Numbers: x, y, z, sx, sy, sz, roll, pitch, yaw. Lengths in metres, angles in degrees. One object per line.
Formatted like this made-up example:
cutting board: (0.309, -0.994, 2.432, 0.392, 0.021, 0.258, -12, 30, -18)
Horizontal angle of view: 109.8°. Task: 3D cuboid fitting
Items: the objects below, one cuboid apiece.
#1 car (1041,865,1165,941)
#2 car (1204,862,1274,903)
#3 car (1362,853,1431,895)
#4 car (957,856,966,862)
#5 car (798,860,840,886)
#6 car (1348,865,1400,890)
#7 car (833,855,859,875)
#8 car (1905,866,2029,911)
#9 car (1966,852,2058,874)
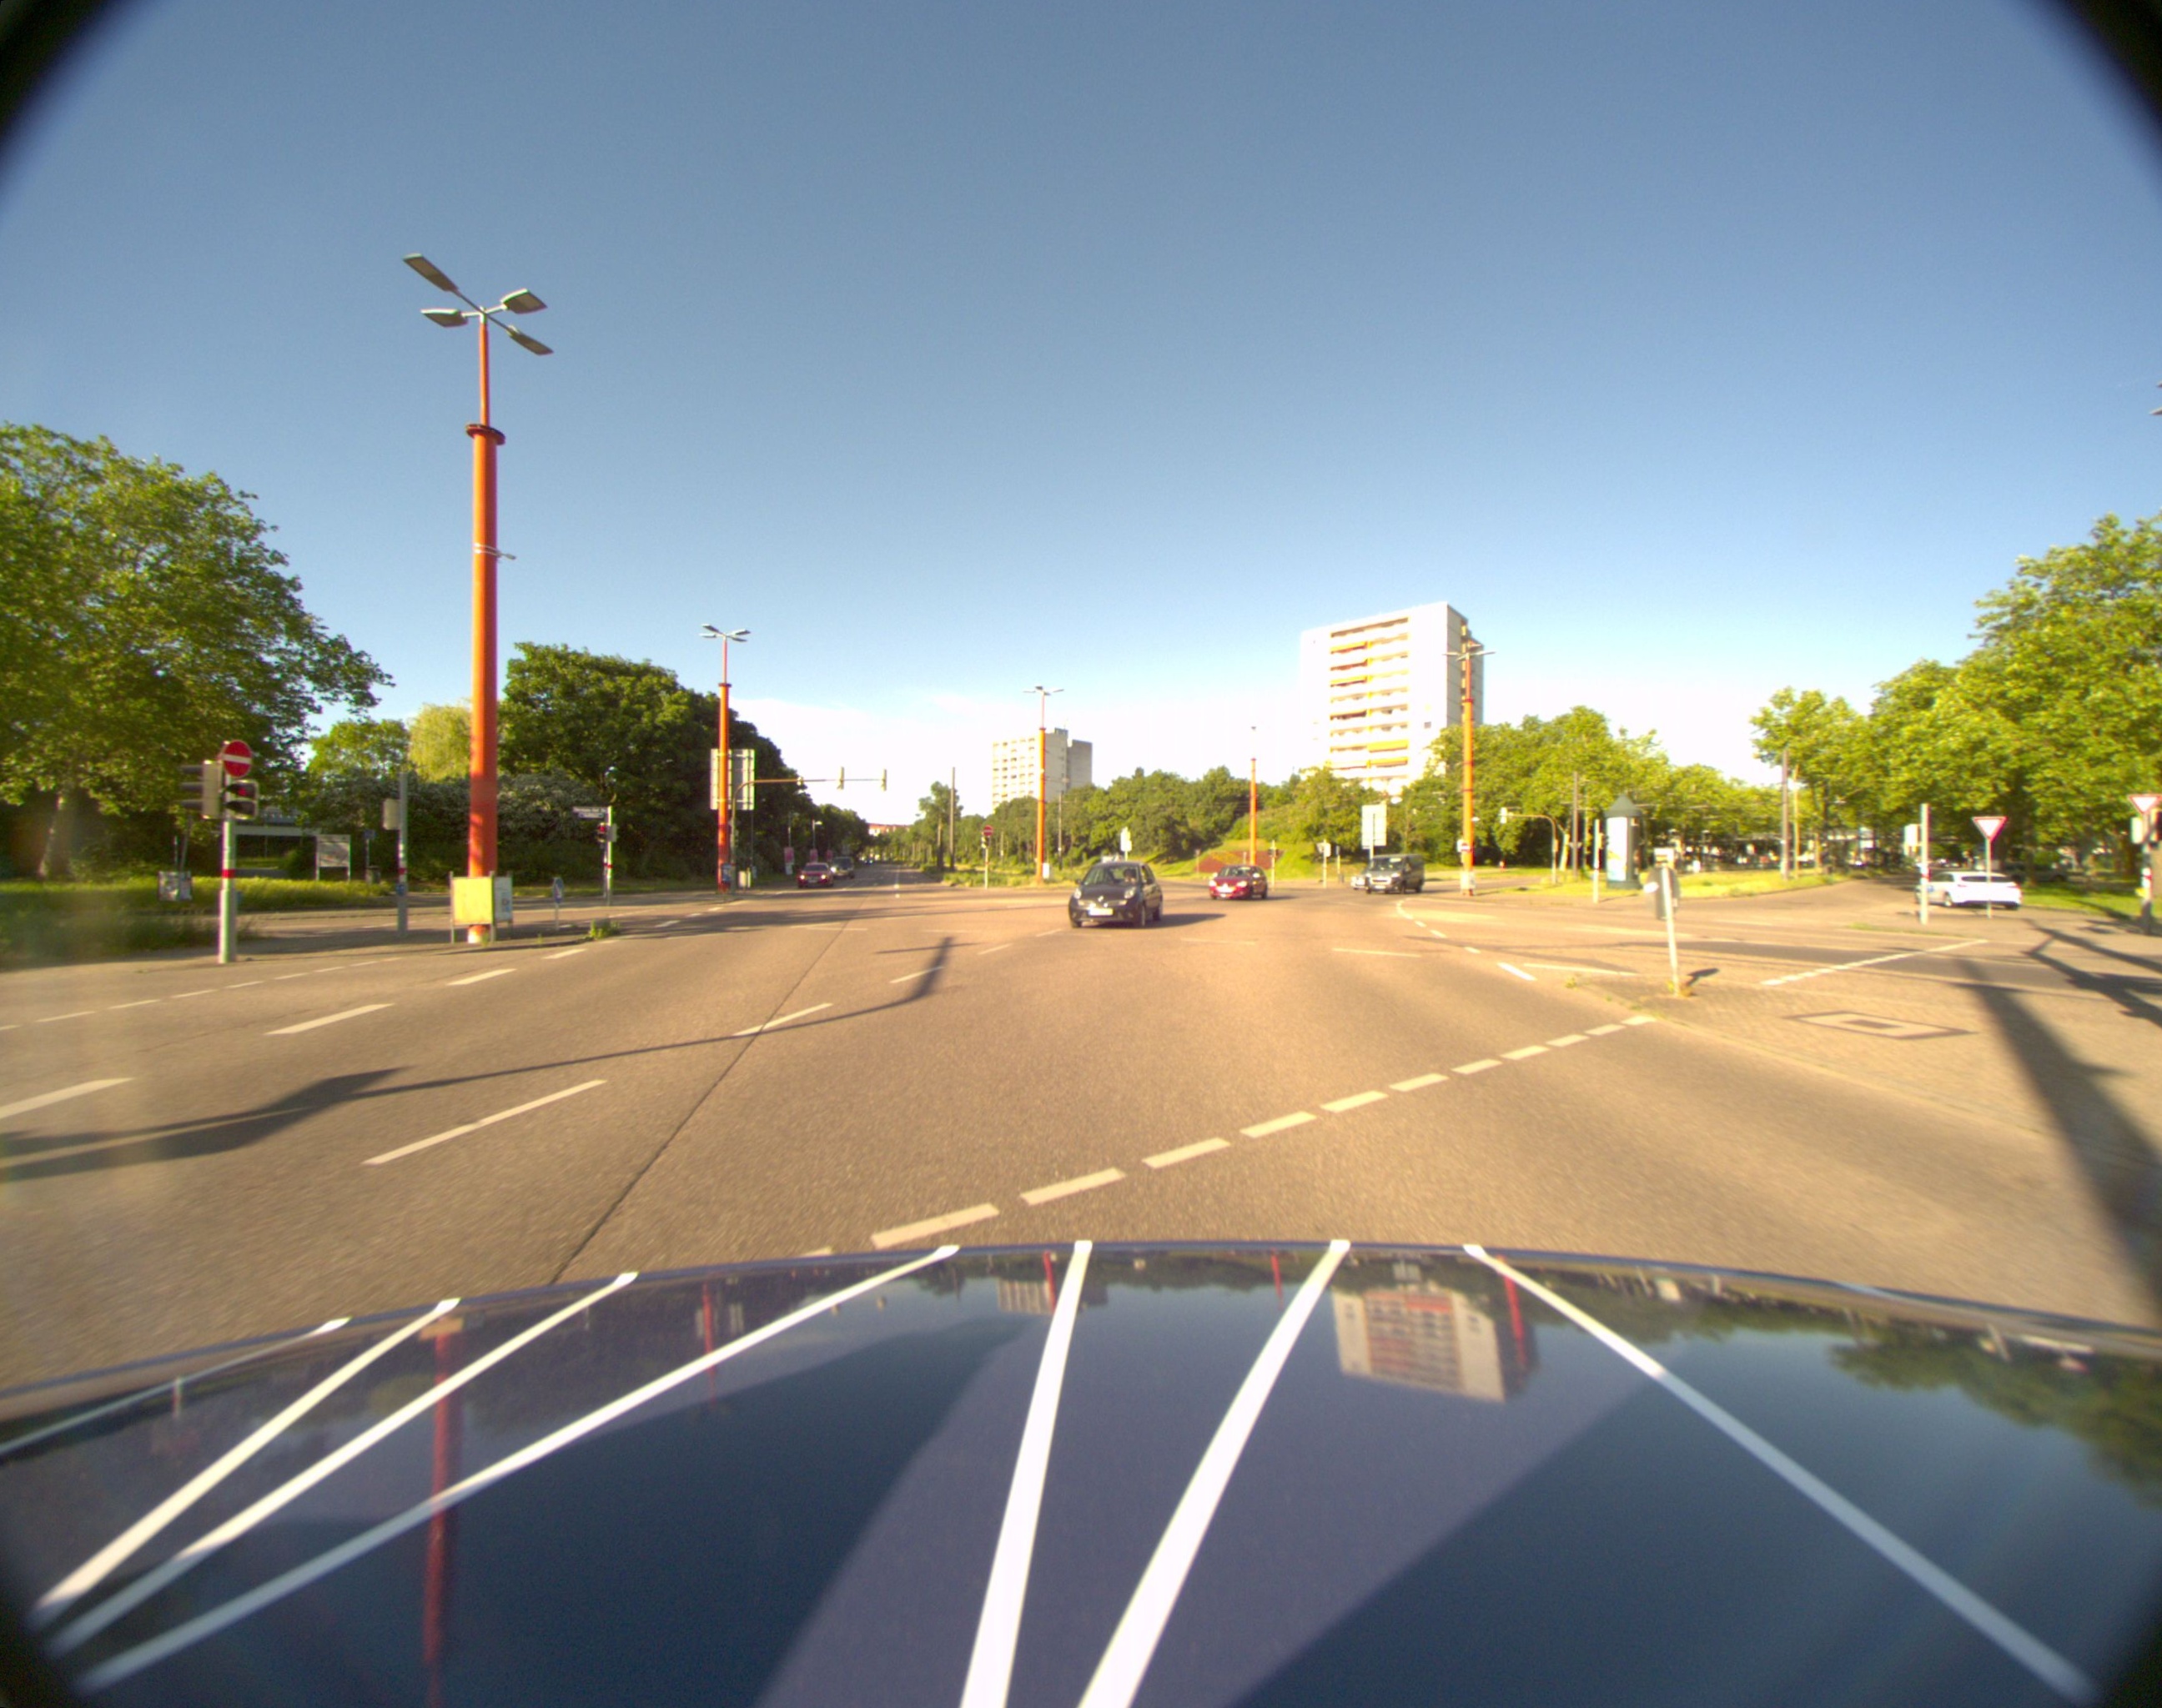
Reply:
car: (0.663, 0.995, 17.394, 1.737, 1.474, 4.628, 0, 0, 16)
car: (6.652, 1.127, 31.578, 1.769, 1.549, 4.735, 0, 0, 25)
car: (17.848, 1.073, 42.778, 2.035, 2.191, 5.673, -1, 0, 39)
car: (-31.405, 1.289, 199.856, 2.001, 1.694, 4.687, -1, 0, -15)
car: (-16.005, 1.123, 46.557, 2.001, 1.486, 4.284, 0, 0, -14)
car: (19.371, 1.529, 50.101, 1.909, 1.549, 4.736, -1, 0, 37)
car: (-21.028, 0.991, 68.141, 2.001, 1.722, 4.813, 0, 0, -14)
car: (35.567, 1.324, 30.667, 1.899, 1.542, 4.268, 2, 2, 30)
car: (66.804, 0.653, 54.569, 4.044, 1.478, 1.816, -1, -1, 7)
